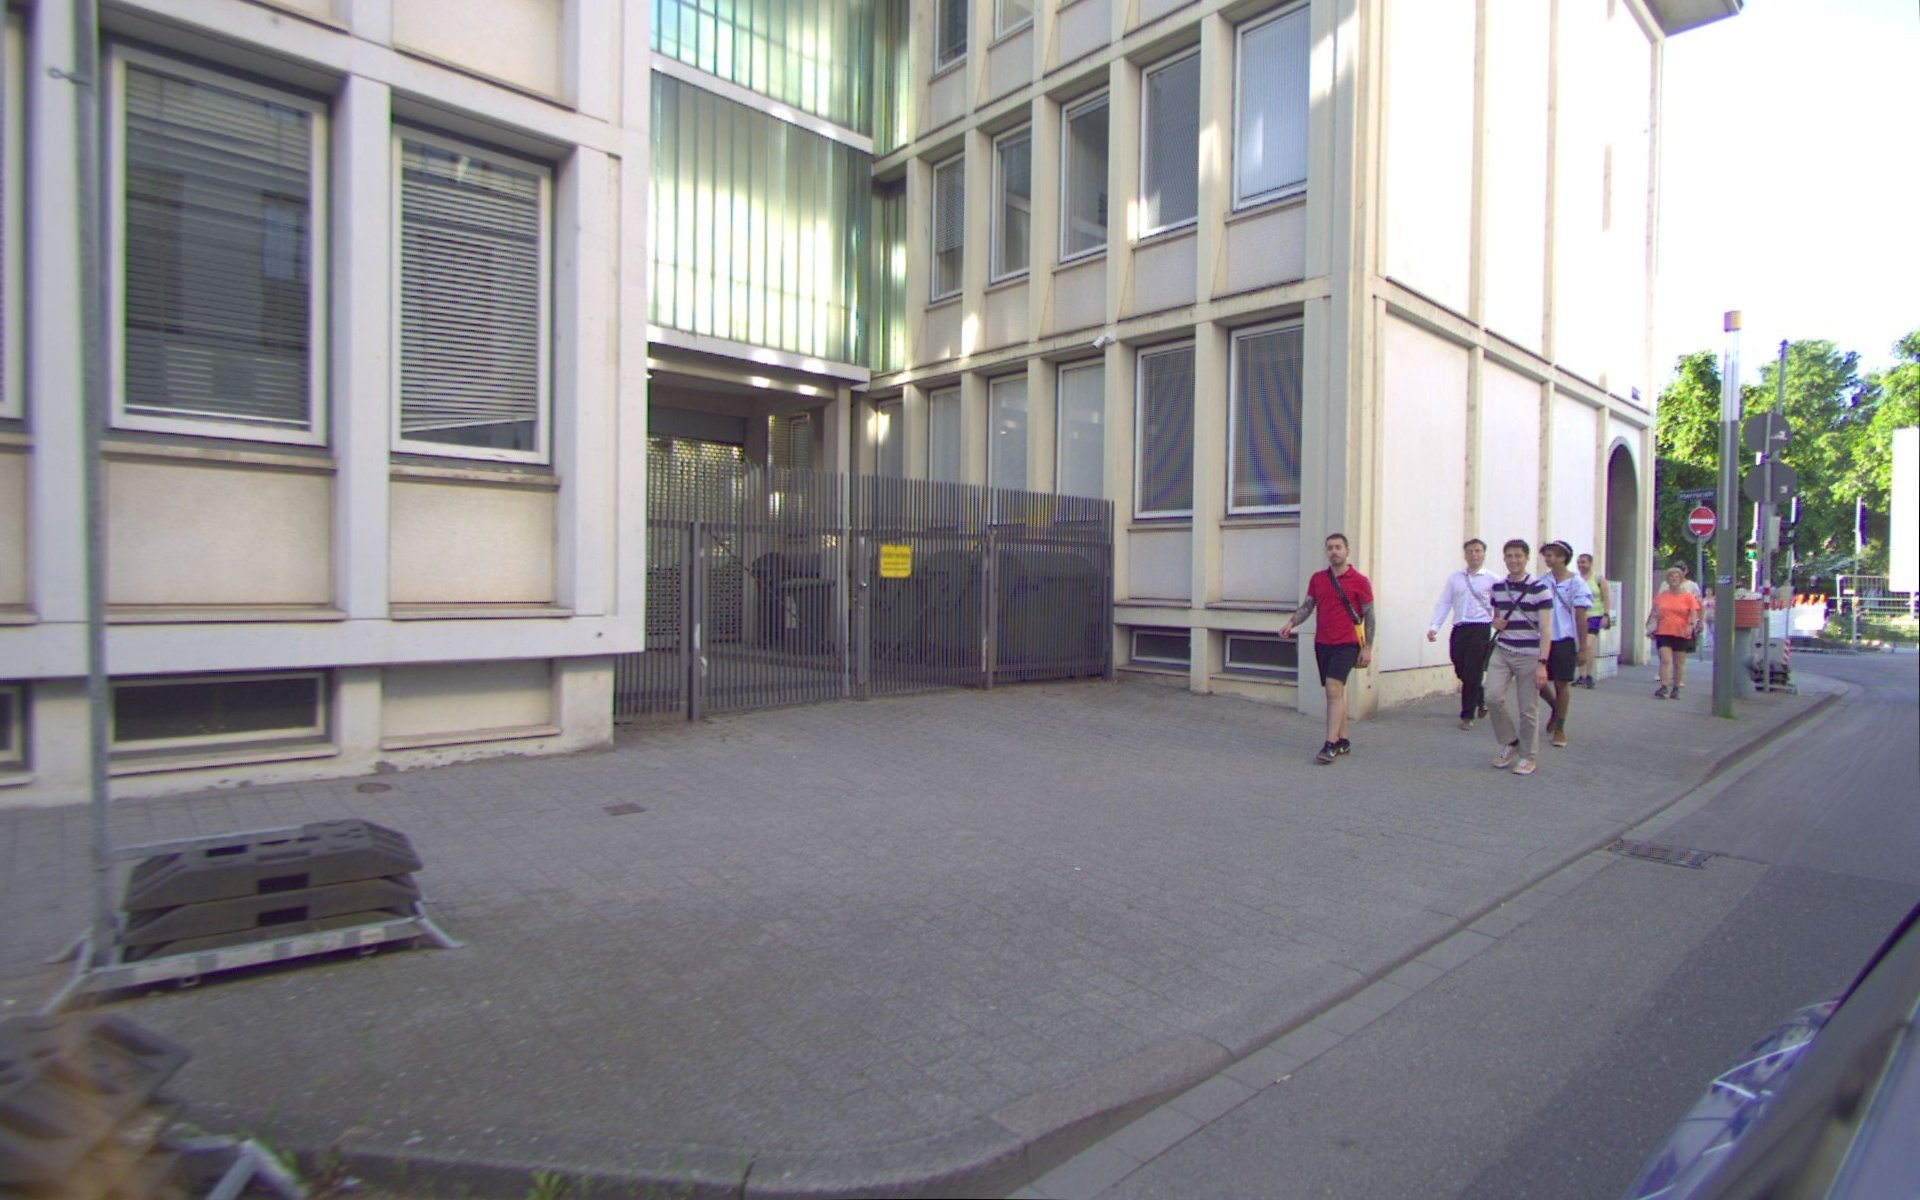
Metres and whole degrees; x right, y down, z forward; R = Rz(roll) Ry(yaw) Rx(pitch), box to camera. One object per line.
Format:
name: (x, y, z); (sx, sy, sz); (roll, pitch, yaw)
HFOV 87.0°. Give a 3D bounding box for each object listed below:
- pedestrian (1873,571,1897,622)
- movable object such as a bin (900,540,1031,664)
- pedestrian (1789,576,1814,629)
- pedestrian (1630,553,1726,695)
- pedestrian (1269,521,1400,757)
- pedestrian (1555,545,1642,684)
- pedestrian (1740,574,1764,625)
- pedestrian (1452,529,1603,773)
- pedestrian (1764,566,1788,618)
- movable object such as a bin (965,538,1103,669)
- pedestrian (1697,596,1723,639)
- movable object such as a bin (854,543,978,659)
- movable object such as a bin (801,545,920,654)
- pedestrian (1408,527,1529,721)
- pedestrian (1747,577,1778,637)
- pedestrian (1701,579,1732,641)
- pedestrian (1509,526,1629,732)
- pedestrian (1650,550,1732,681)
pedestrian: (33.051, -0.144, 36.159); (0.624, 1.805, 0.614); (0, 1, 42)
movable object such as a bin: (0.077, 0.004, 12.698); (1.359, 1.454, 0.968); (-1, 1, -42)
pedestrian: (29.177, 0.089, 35.086); (0.624, 1.805, 0.614); (0, 1, 42)
pedestrian: (8.916, 0.283, 12.575); (0.681, 1.655, 0.685); (0, 6, -41)
pedestrian: (3.029, 0.286, 8.214); (0.583, 1.799, 0.685); (0, 4, -41)
pedestrian: (8.351, 0.170, 13.242); (0.681, 1.736, 0.685); (0, 4, -41)
pedestrian: (28.327, -0.035, 36.198); (0.624, 1.805, 0.614); (0, 1, 42)
pedestrian: (4.521, 0.371, 8.077); (0.681, 1.799, 0.685); (0, 7, -41)
pedestrian: (28.804, -0.279, 35.708); (0.624, 1.805, 0.614); (0, 1, 42)
movable object such as a bin: (0.889, 0.015, 12.064); (1.359, 1.454, 0.968); (-1, 1, -42)
pedestrian: (21.184, 0.483, 28.570); (0.533, 1.191, 0.614); (0, 1, 42)
movable object such as a bin: (-0.580, -0.013, 13.509); (1.359, 1.454, 0.968); (-1, 1, -42)
movable object such as a bin: (-1.395, -0.028, 14.268); (1.359, 1.454, 0.968); (-1, 1, -42)
pedestrian: (5.036, 0.217, 10.031); (0.681, 1.799, 0.685); (0, 7, -41)
pedestrian: (22.102, 0.185, 27.879); (0.624, 1.634, 0.614); (0, 1, 42)
pedestrian: (20.861, 0.259, 27.898); (0.624, 1.662, 0.614); (0, 1, 42)
pedestrian: (5.611, 0.241, 9.337); (0.681, 1.800, 0.684); (0, 3, -41)
pedestrian: (10.098, 0.197, 13.990); (0.681, 1.736, 0.684); (0, 3, -41)
